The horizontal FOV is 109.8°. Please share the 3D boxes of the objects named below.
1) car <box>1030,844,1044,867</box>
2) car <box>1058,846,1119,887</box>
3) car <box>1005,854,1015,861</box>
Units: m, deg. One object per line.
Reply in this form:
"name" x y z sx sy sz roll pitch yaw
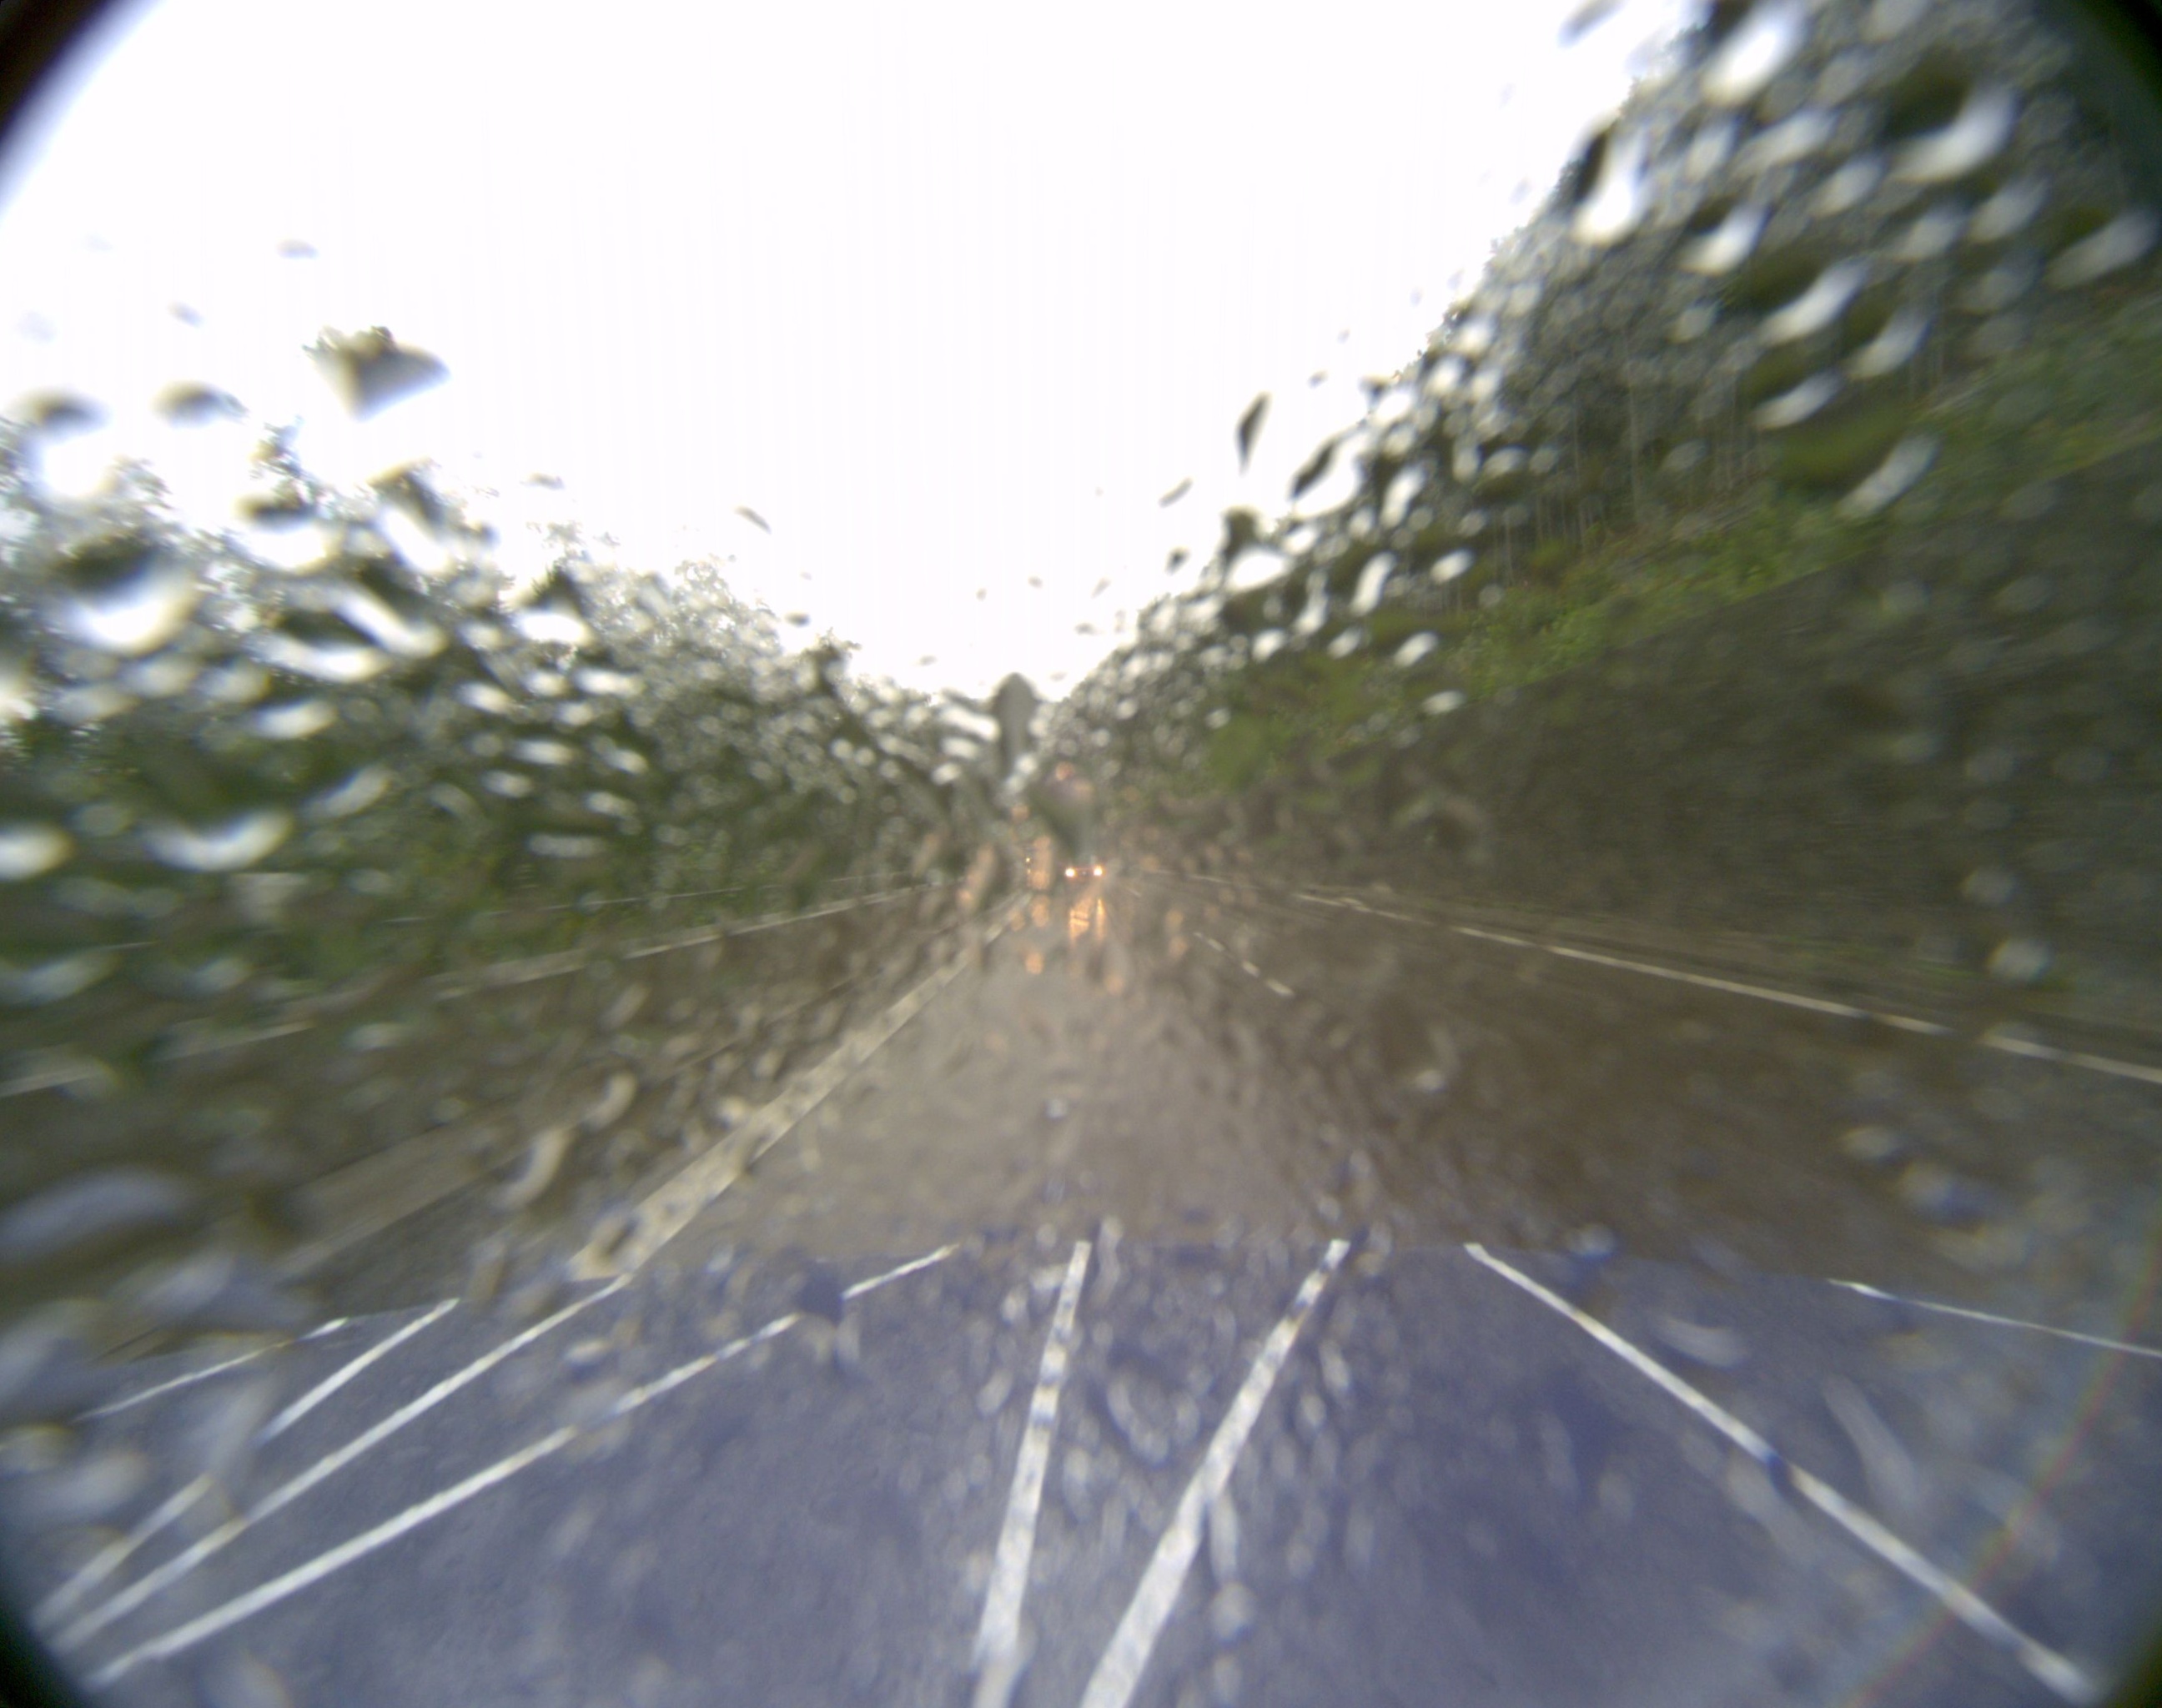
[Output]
"car" -5.888 0.206 101.422 1.742 3.008 3.998 0 1 -4
"car" 0.221 0.491 33.796 2.360 1.549 5.497 -3 1 -2
"car" -15.643 0.823 167.135 1.743 1.393 3.995 -1 0 -11
